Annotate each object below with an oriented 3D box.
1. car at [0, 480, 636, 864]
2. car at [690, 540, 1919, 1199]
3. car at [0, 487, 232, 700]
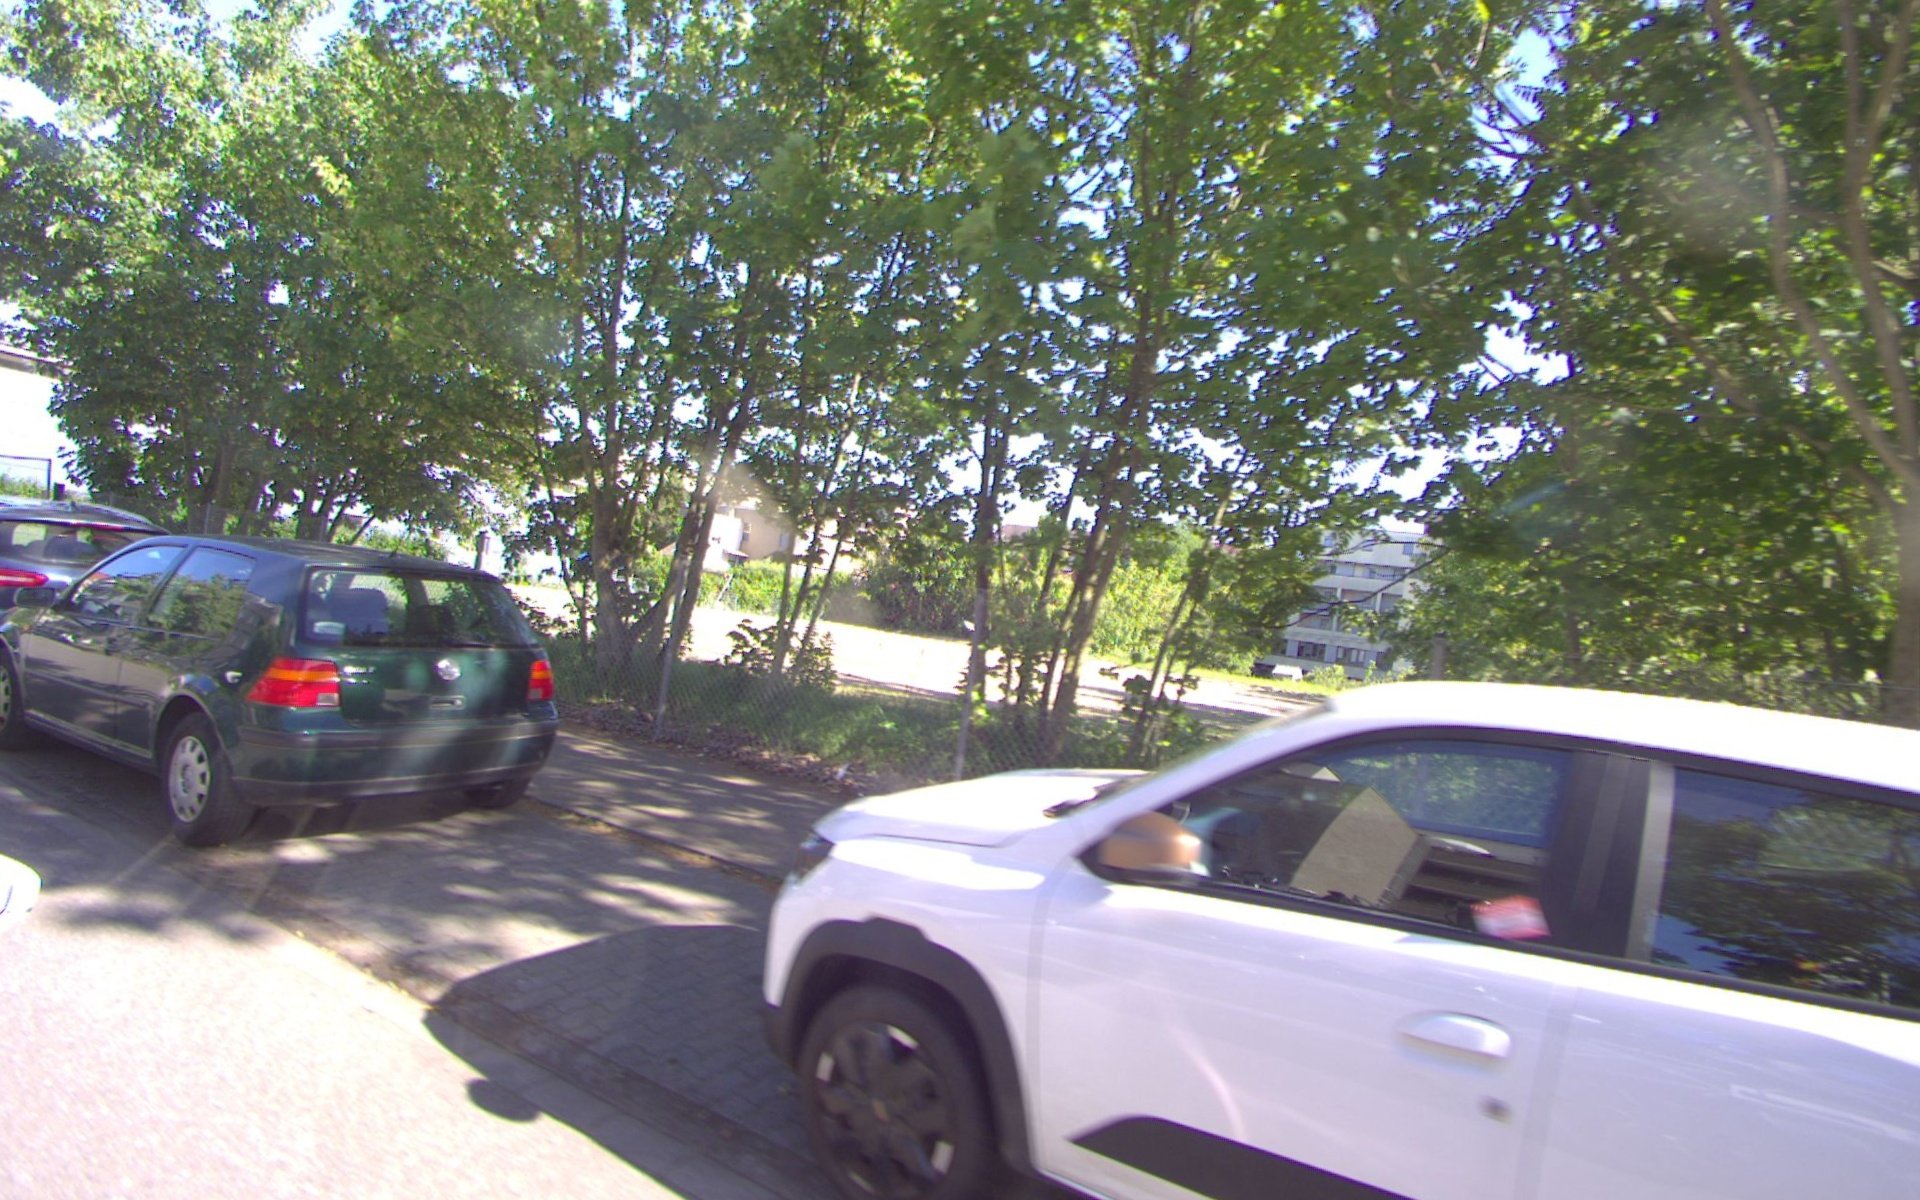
[{"bbox_3d":[-4.112,0.252,6.012,4.000,1.489,1.828,7,-1,31],"label":"car"},{"bbox_3d":[1.442,0.802,2.379,4.024,1.468,1.622,6,-2,33],"label":"car"},{"bbox_3d":[-8.231,-0.215,8.454,4.364,1.454,1.680,7,-1,30],"label":"car"}]
